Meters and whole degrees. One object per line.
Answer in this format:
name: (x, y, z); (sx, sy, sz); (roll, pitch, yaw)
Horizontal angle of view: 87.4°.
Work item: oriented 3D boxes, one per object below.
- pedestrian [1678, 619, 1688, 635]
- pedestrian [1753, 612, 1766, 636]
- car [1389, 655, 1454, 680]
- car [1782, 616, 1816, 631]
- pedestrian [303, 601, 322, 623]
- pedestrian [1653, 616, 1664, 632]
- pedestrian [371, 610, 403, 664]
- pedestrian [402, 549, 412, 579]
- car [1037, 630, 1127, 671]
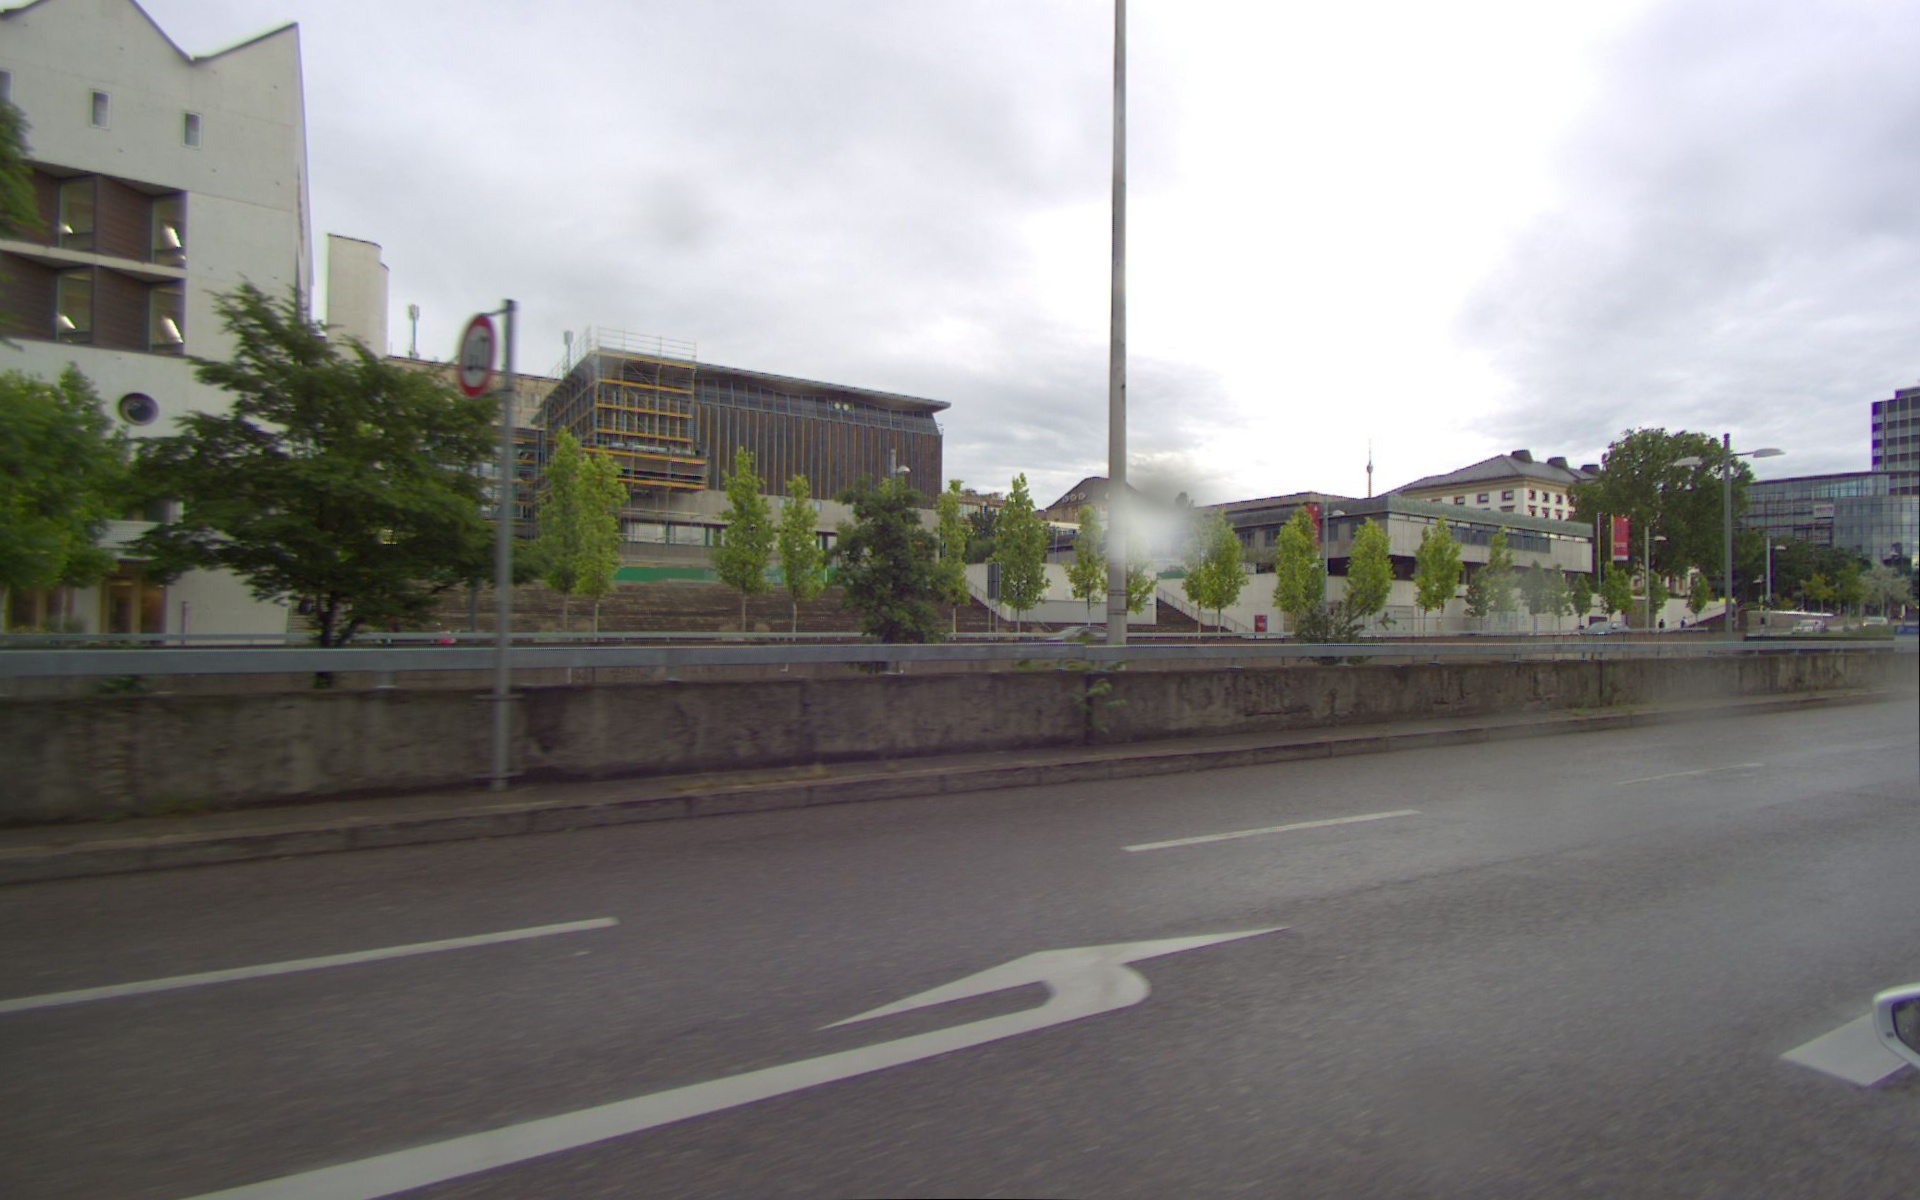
pedestrian: (67.505, 2.535, 93.781); (0.624, 1.441, 0.490); (2, 0, -25)
pedestrian: (75.475, 2.264, 94.793); (0.712, 2.120, 0.769); (-2, 3, 22)
car: (22.535, 3.278, 49.009); (3.018, 1.144, 1.479); (2, -1, -33)
car: (76.506, 2.179, 91.585); (3.128, 1.271, 1.401); (2, -1, -29)
pedestrian: (-27.777, 0.505, 43.078); (0.621, 0.899, 0.803); (2, 0, -30)
pedestrian: (61.019, 2.084, 87.740); (0.568, 1.401, 0.466); (2, 0, -22)
pedestrian: (-20.694, 1.324, 36.285); (0.822, 1.891, 1.077); (2, 0, -37)
pedestrian: (-30.003, -1.948, 54.533); (0.306, 1.594, 0.315); (2, 0, 22)
car: (5.074, 2.081, 41.757); (3.441, 1.576, 1.683); (2, -1, -35)
